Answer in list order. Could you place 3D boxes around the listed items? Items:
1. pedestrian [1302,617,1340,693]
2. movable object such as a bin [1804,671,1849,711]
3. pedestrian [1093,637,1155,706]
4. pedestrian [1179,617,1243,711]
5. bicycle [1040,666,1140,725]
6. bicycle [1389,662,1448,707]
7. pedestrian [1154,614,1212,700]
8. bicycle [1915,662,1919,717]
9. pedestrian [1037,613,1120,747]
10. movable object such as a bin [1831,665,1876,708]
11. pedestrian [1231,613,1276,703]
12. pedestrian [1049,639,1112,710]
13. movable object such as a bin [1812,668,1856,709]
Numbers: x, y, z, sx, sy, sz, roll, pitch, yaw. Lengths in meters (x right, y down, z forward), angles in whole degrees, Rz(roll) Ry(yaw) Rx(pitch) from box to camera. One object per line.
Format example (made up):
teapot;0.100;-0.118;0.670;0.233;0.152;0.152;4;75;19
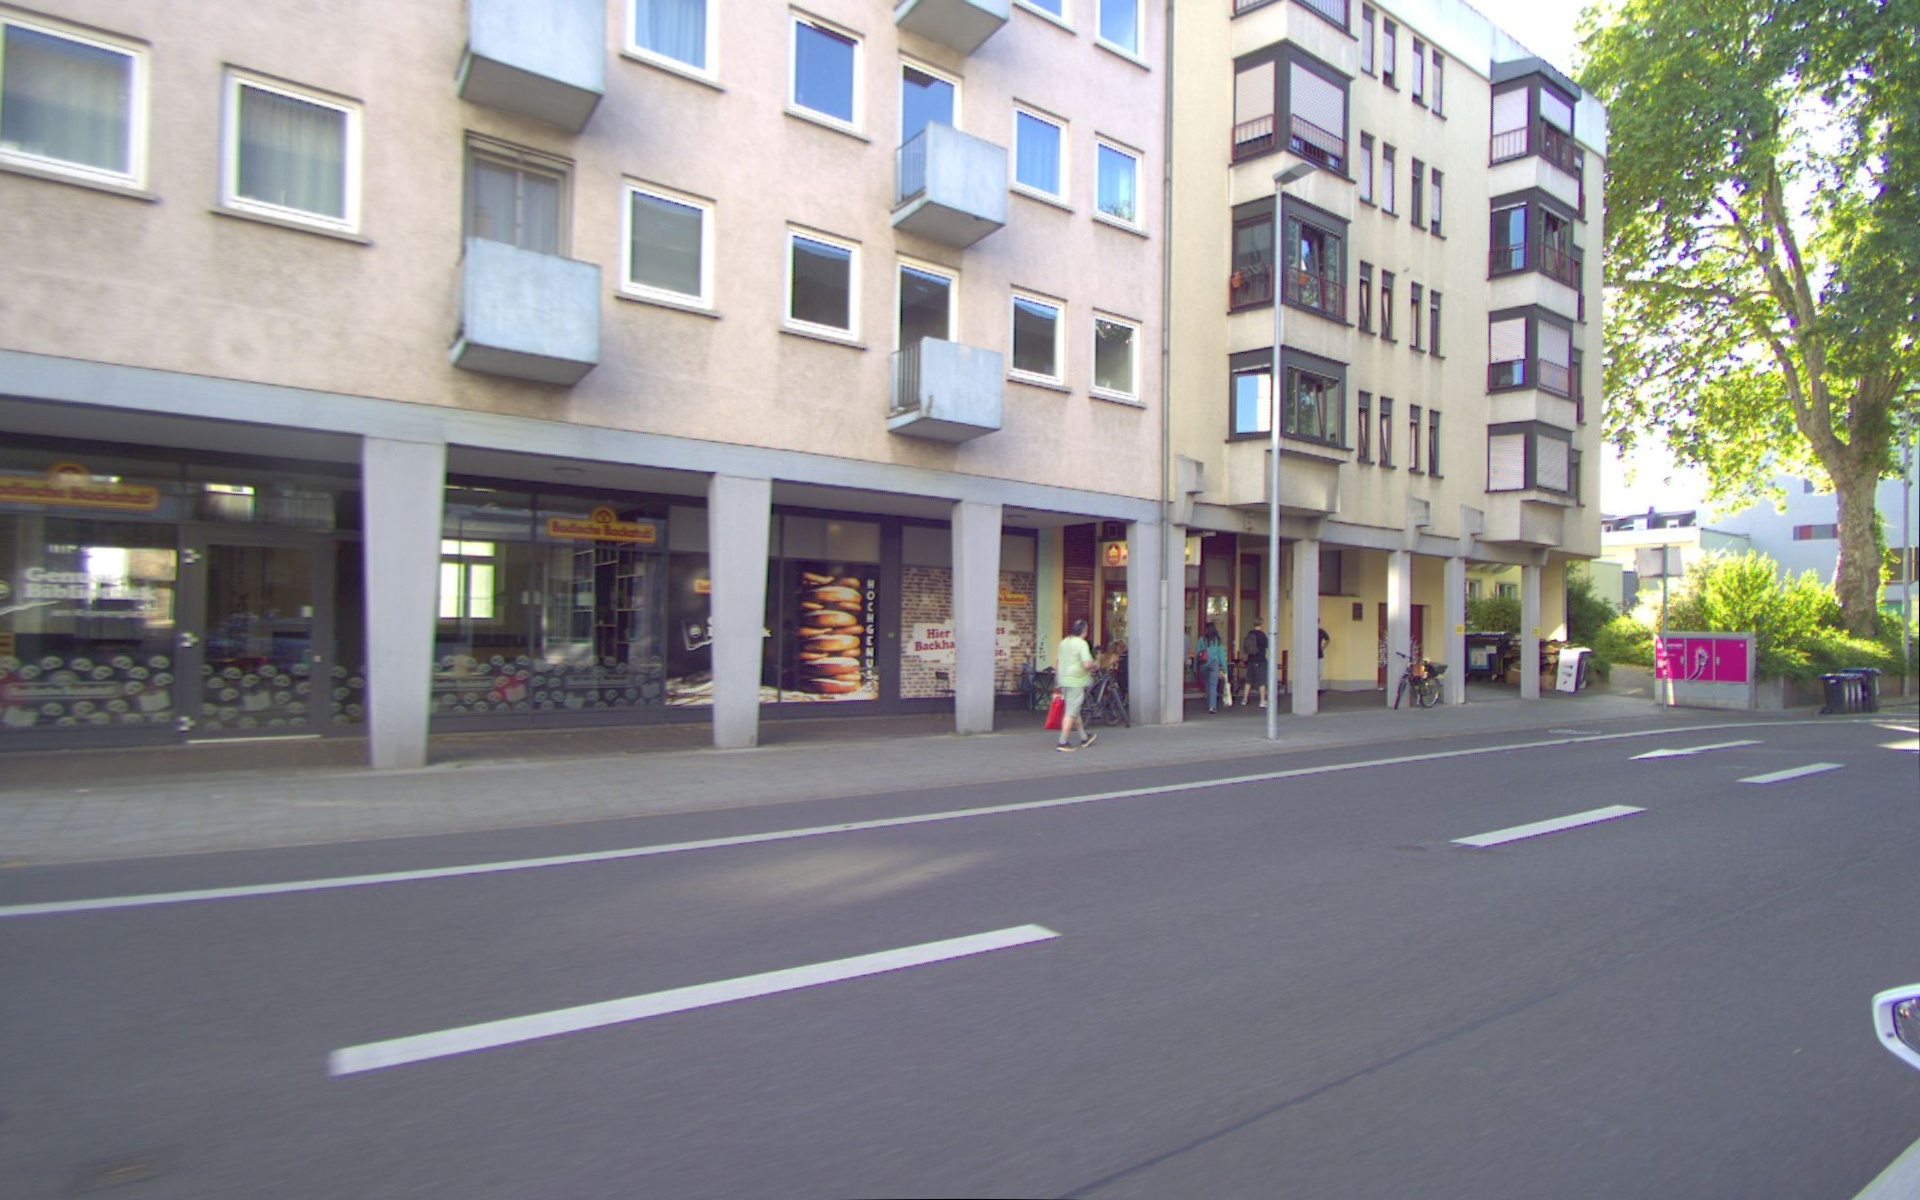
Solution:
pedestrian;8.493;1.277;23.637;0.617;1.747;0.578;2;-1;-35
movable object such as a bin;20.707;2.160;24.014;0.574;0.863;0.681;1;1;-35
pedestrian;3.223;1.394;19.765;0.846;1.282;0.827;2;-1;-34
pedestrian;4.851;1.212;19.444;0.827;1.747;0.845;2;-1;-39
bicycle;2.141;1.547;16.496;1.599;0.896;0.630;2;-2;-33
bicycle;9.810;1.793;21.475;1.597;0.889;0.386;2;1;-37
pedestrian;4.682;1.191;21.152;0.842;1.747;0.830;2;-1;-22
bicycle;21.457;1.945;21.807;2.319;1.154;0.809;2;-2;-40
pedestrian;1.629;1.071;13.807;0.769;1.747;0.799;2;-1;-39
movable object such as a bin;22.123;2.136;24.880;0.590;0.978;0.698;1;1;-35
pedestrian;6.111;1.196;20.881;0.650;1.819;0.608;2;-1;-39
pedestrian;2.291;1.399;19.142;0.846;1.282;0.827;2;-1;-34
movable object such as a bin;21.208;2.144;24.380;0.574;0.919;0.681;1;1;-35
